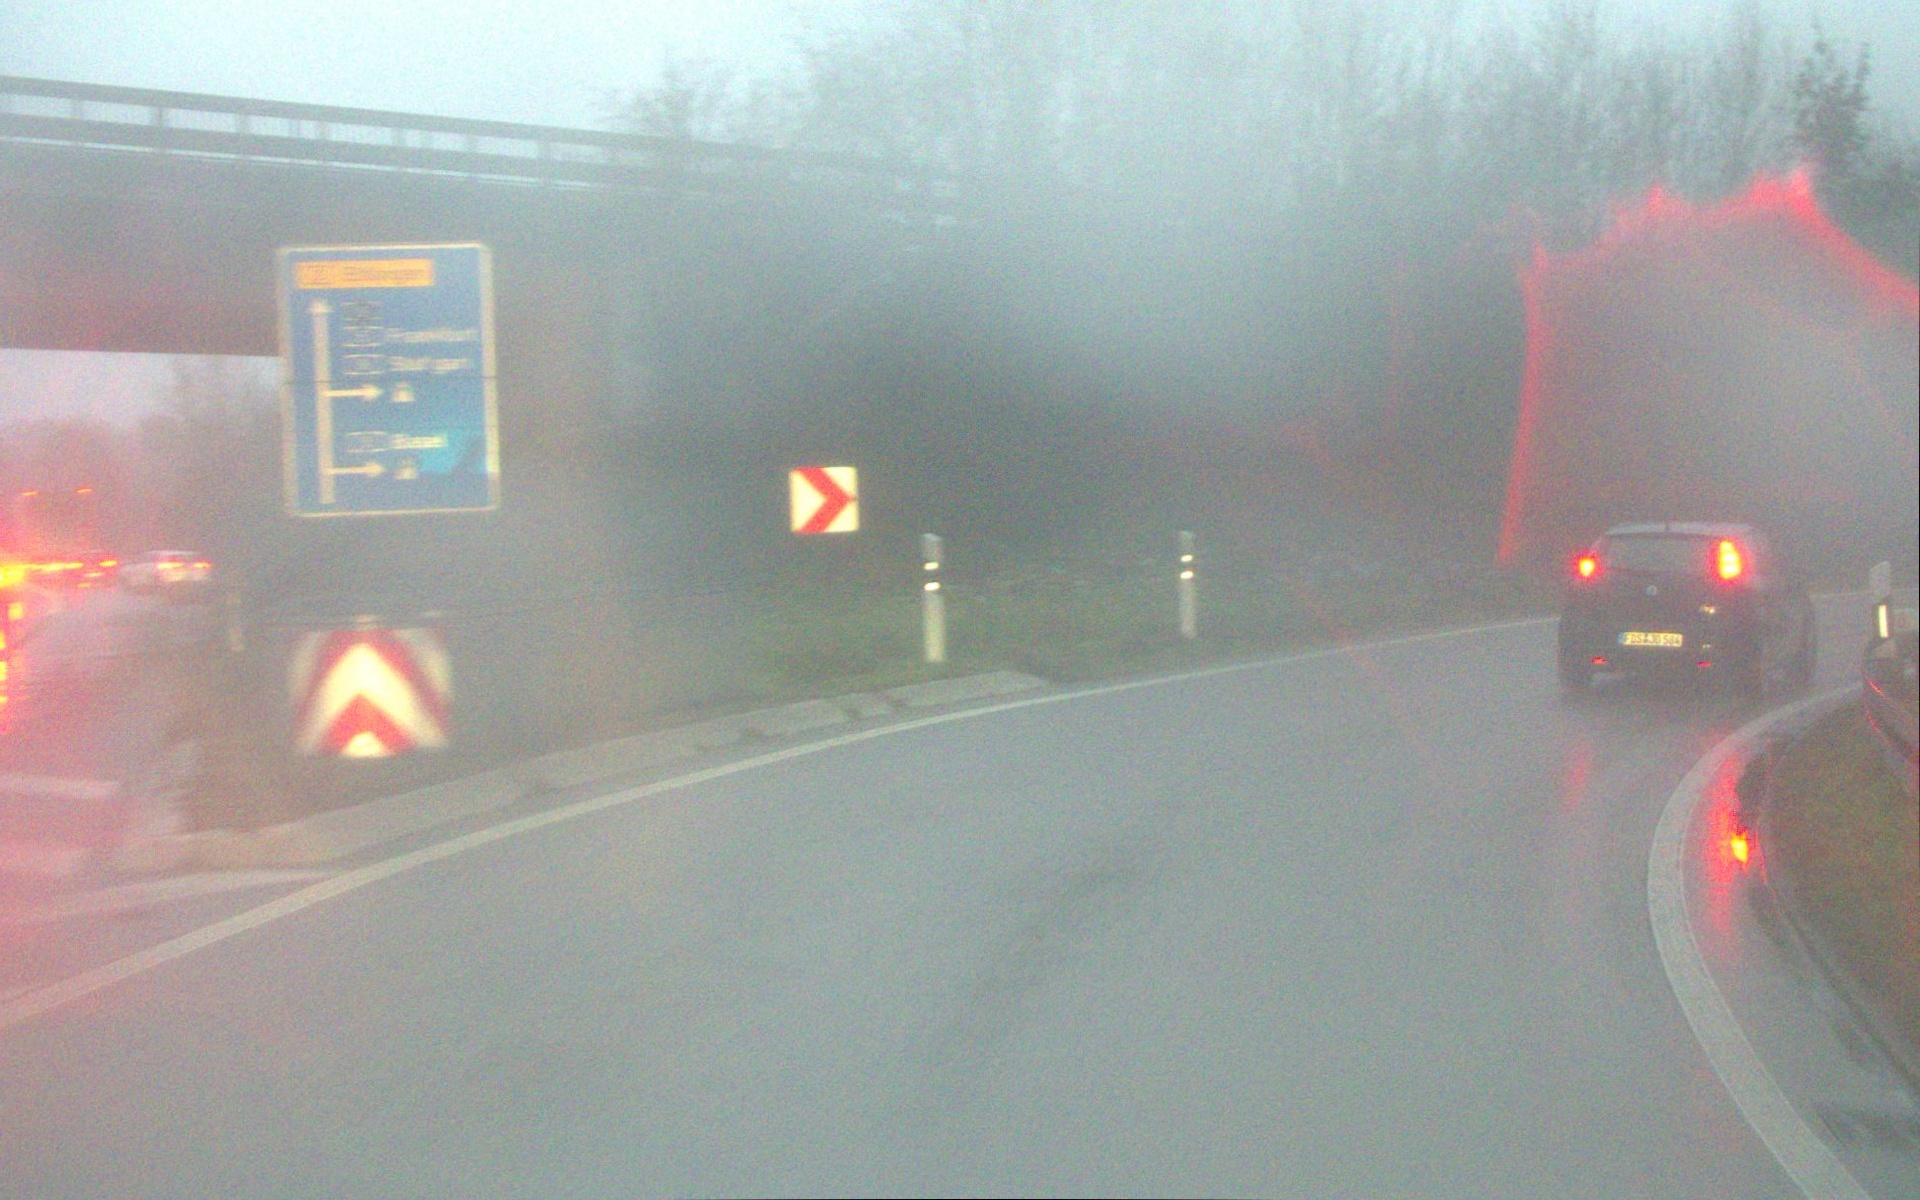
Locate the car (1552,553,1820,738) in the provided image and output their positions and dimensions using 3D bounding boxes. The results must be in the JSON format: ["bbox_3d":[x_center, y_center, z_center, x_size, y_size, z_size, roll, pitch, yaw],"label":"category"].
[{"bbox_3d":[6.361,0.341,29.849,1.734,1.424,3.762,1,2,20],"label":"car"}]

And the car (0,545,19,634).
[{"bbox_3d":[-20.085,-0.202,69.518,1.878,1.611,3.876,-2,3,-14],"label":"car"}]
